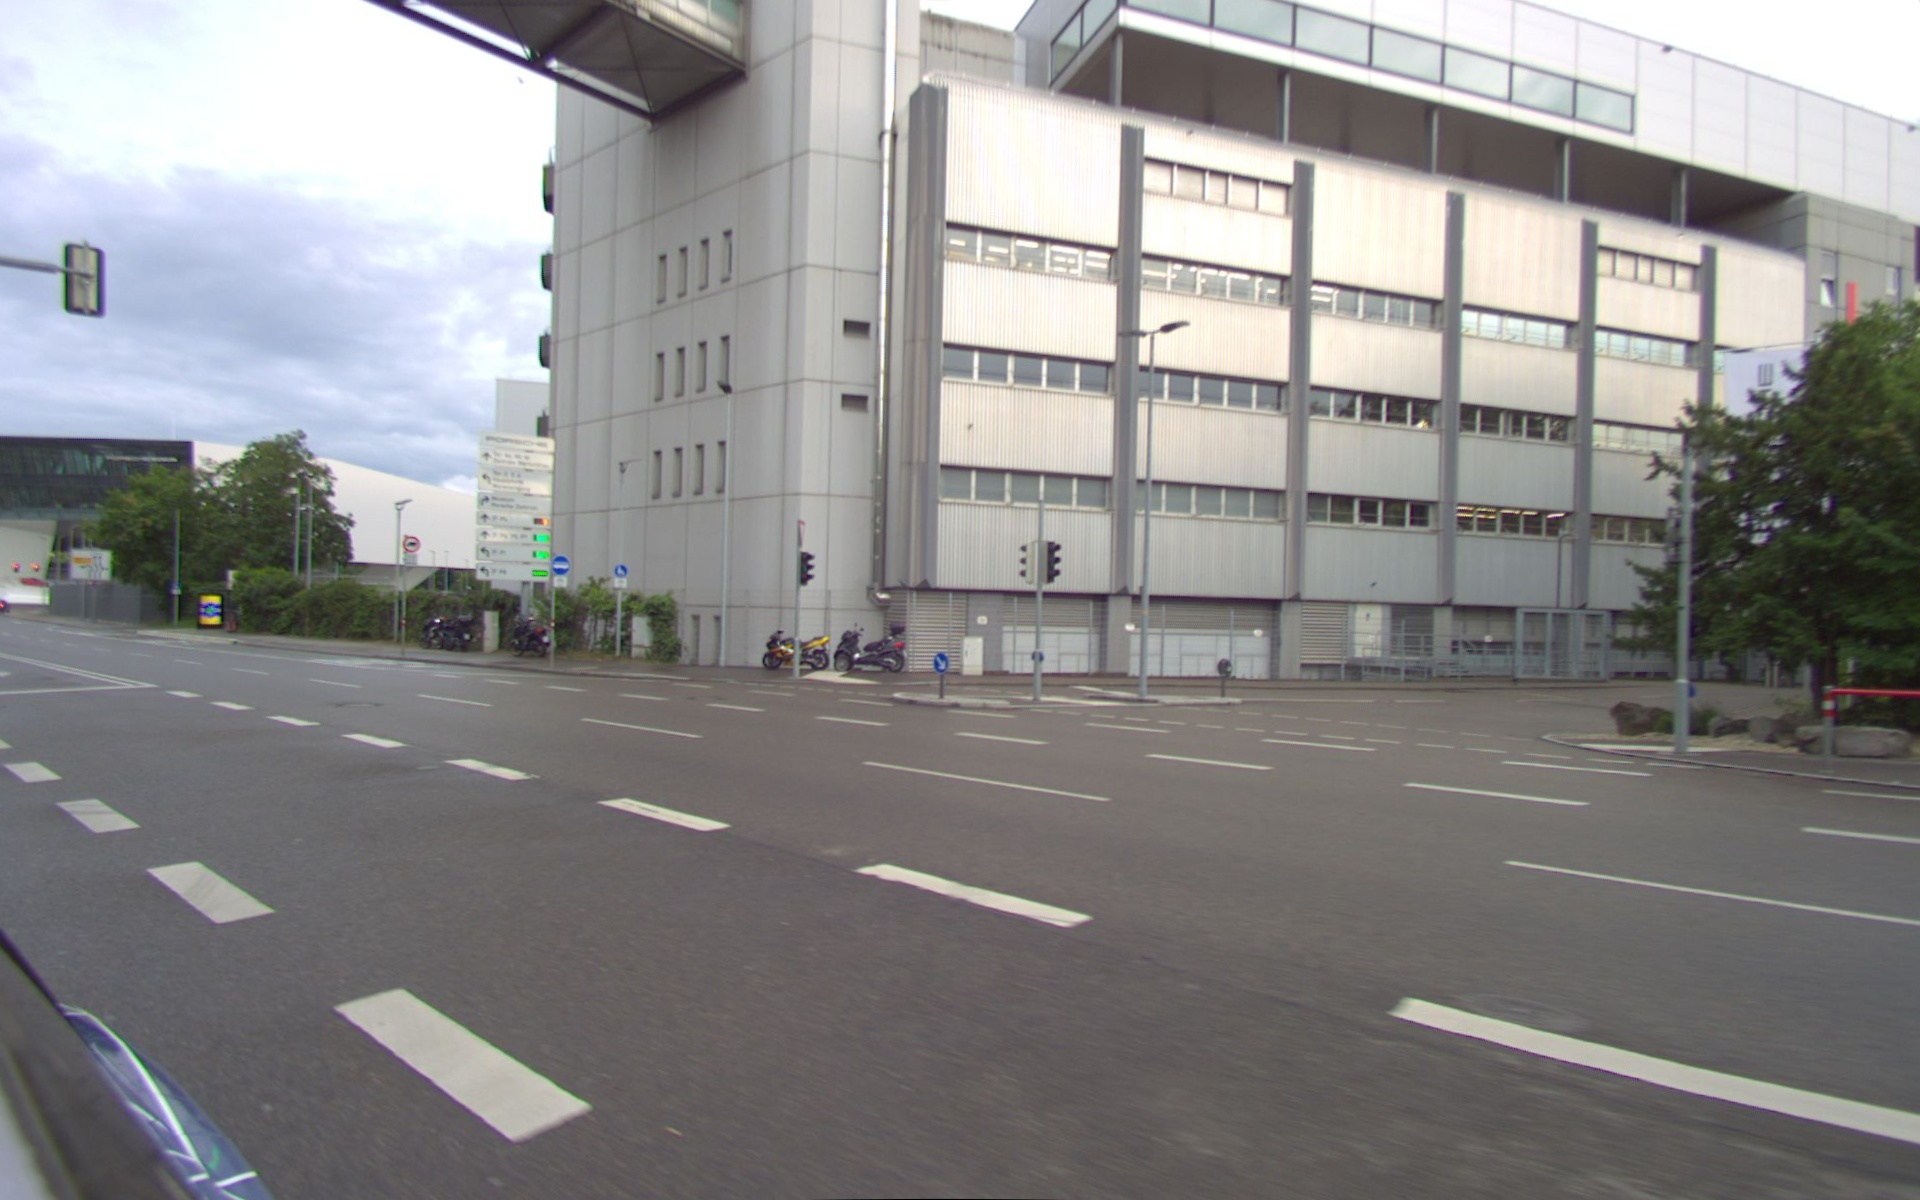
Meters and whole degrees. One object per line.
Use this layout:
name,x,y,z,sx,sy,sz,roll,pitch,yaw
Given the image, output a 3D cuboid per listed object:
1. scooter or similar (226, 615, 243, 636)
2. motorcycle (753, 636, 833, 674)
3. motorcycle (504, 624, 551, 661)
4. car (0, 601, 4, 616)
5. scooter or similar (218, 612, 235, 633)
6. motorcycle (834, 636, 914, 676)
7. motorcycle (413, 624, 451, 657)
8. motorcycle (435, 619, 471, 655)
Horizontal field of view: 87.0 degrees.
scooter or similar,-39.947,1.386,55.716,1.568,1.138,0.389,0,-2,42
motorcycle,-4.756,1.556,28.813,2.144,1.035,0.625,1,-2,6
motorcycle,-14.577,1.417,34.118,2.037,1.171,0.561,0,-2,40
car,-109.738,0.924,114.677,4.484,1.602,1.752,0,-2,43
scooter or similar,-41.142,1.264,56.745,1.568,1.138,0.389,0,-2,42
motorcycle,-2.412,1.557,28.416,2.150,1.035,0.624,1,-2,14
motorcycle,-20.577,1.572,39.400,1.967,1.224,0.618,0,-2,42
motorcycle,-18.861,1.373,37.634,0.617,1.277,2.173,0,-1,-43
